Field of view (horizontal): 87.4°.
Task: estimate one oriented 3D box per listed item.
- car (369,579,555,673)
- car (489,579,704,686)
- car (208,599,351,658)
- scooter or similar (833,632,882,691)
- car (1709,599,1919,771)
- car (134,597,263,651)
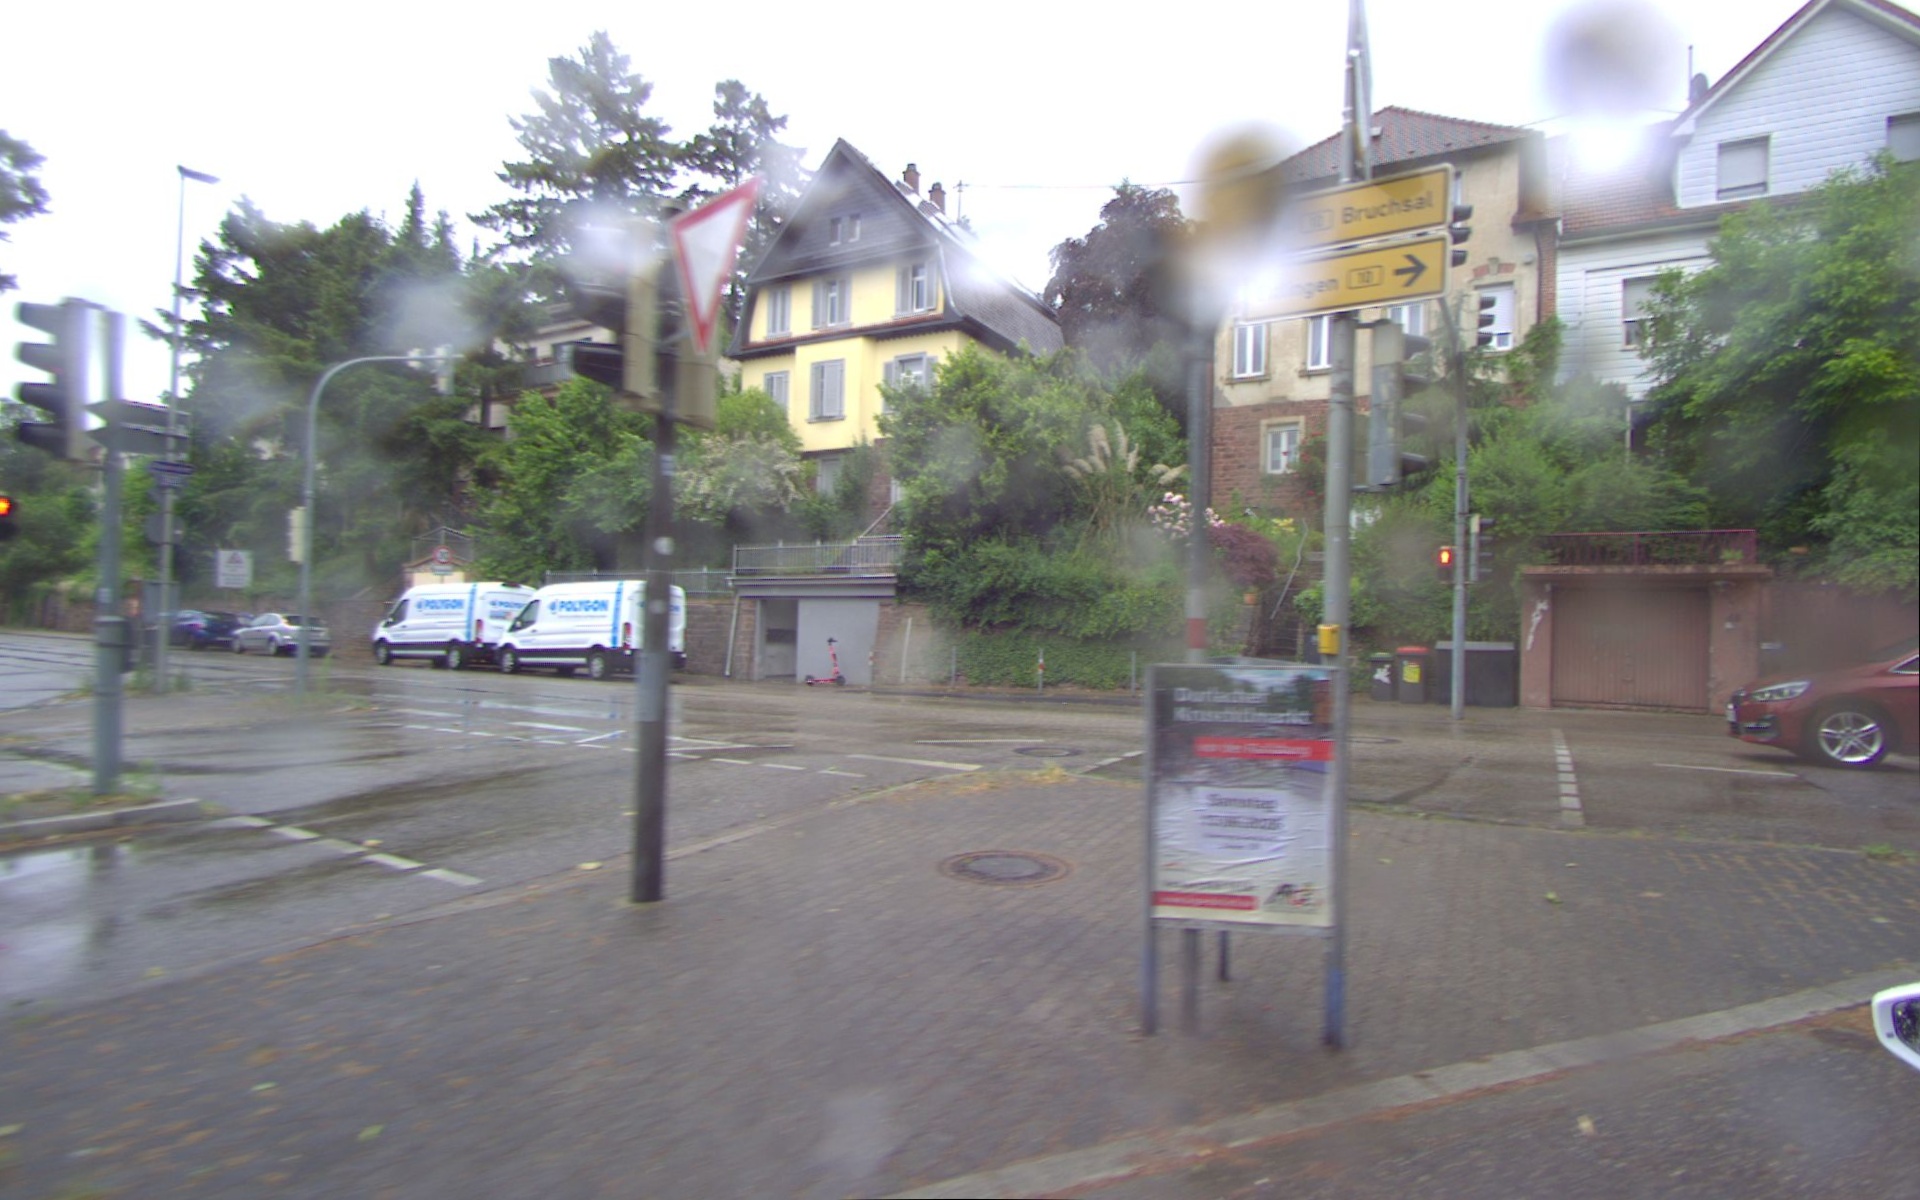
[{"bbox_3d":[-14.873,0.727,29.932,5.483,2.527,2.311,1,-2,32],"label":"car"},{"bbox_3d":[-9.698,0.811,26.645,5.579,2.527,2.311,1,-2,32],"label":"car"},{"bbox_3d":[-24.264,0.994,35.755,5.483,1.878,2.106,1,-2,32],"label":"car"},{"bbox_3d":[-2.398,1.433,23.528,1.074,1.352,0.461,1,-2,-13],"label":"scooter or similar"},{"bbox_3d":[10.207,0.824,9.765,4.503,1.621,1.771,-1,-3,31],"label":"car"},{"bbox_3d":[-29.753,0.916,39.211,5.483,1.878,2.106,1,-2,32],"label":"car"}]
